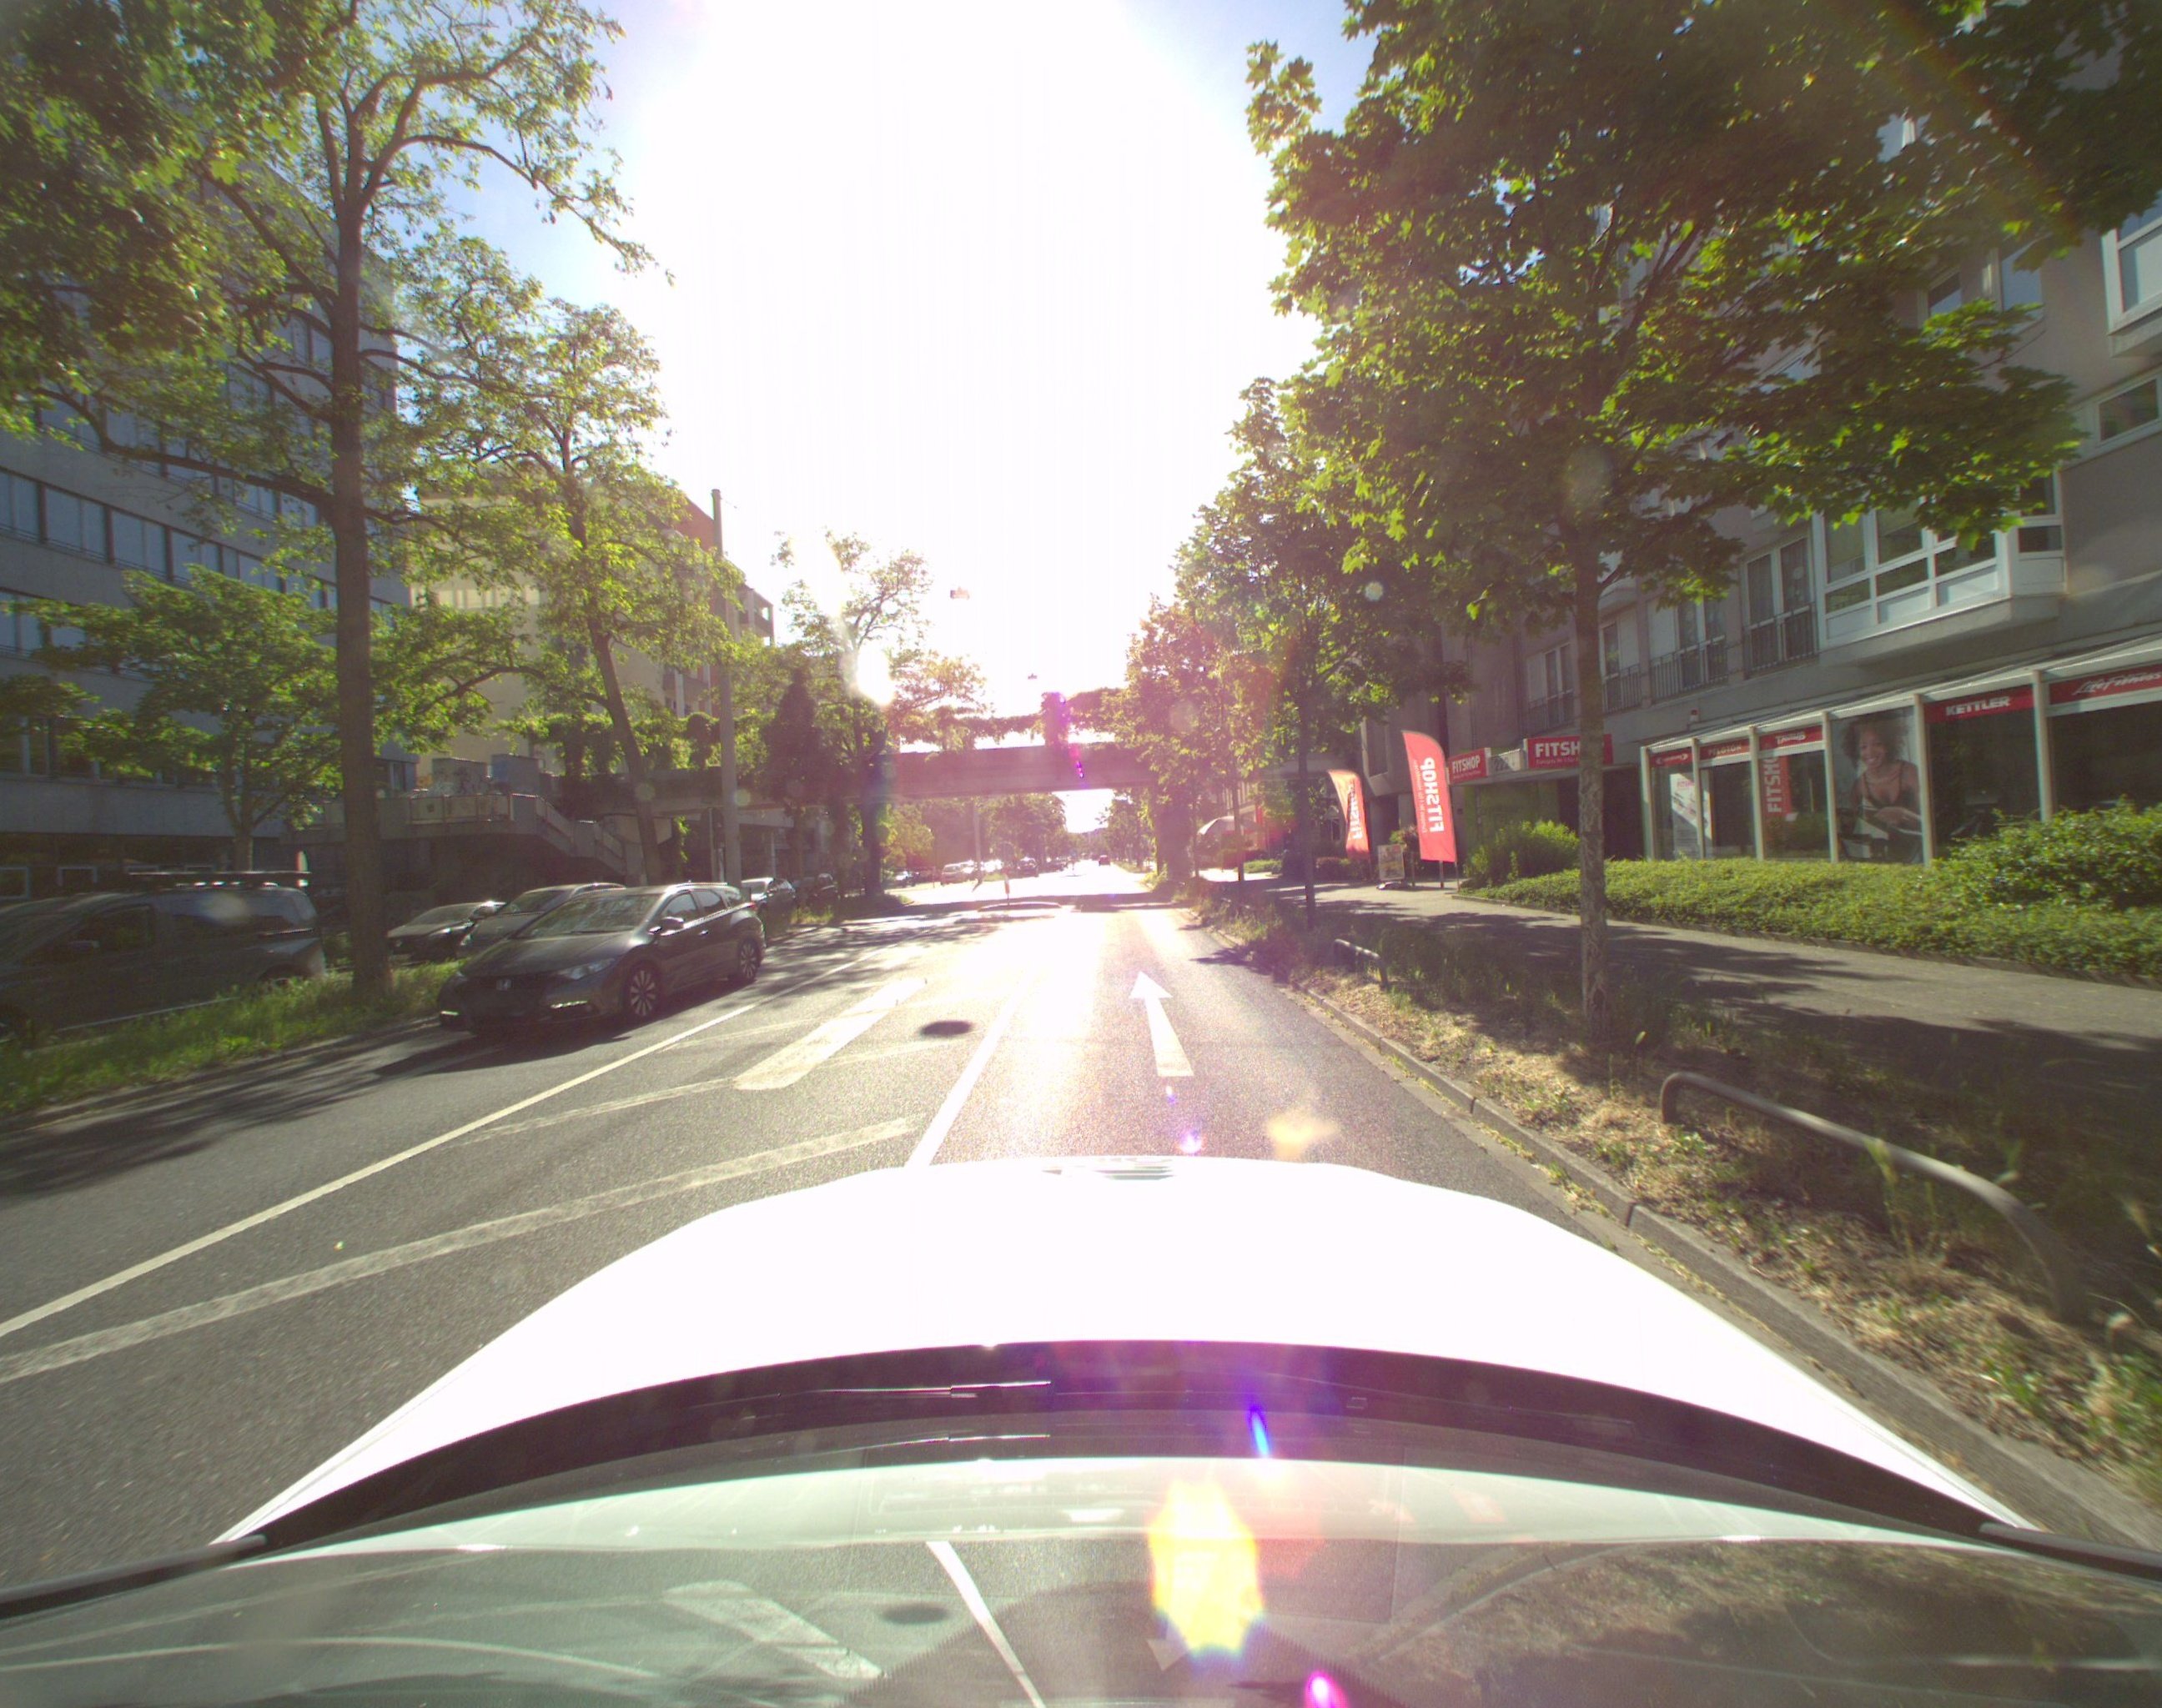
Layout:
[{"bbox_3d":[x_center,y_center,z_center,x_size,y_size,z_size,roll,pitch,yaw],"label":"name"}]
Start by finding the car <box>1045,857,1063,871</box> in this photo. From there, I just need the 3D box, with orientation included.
[{"bbox_3d":[-3.094,1.142,93.238,1.849,1.523,4.318,-2,0,0],"label":"car"}]

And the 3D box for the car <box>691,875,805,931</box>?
[{"bbox_3d":[-10.733,1.525,26.633,1.849,1.523,4.318,-2,0,0],"label":"car"}]

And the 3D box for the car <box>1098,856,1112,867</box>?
[{"bbox_3d":[3.408,1.043,115.985,1.848,1.523,4.322,-2,0,3],"label":"car"}]

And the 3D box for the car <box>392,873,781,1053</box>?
[{"bbox_3d":[-5.477,1.081,9.860,1.849,1.439,4.320,-5,0,2],"label":"car"}]

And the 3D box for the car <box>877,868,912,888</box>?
[{"bbox_3d":[-15.582,1.980,68.210,1.849,1.523,4.318,-2,0,0],"label":"car"}]

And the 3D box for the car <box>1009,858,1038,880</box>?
[{"bbox_3d":[-4.446,1.141,63.669,1.849,1.523,4.318,-2,0,0],"label":"car"}]

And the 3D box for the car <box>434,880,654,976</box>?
[{"bbox_3d":[-10.913,1.431,16.939,1.849,1.568,3.873,-2,0,2],"label":"car"}]

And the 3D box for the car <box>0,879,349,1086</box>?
[{"bbox_3d":[-11.203,1.317,9.086,1.849,1.850,4.562,-2,0,0],"label":"car"}]

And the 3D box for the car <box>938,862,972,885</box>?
[{"bbox_3d":[-9.297,1.435,60.423,1.849,1.523,4.077,-2,0,0],"label":"car"}]

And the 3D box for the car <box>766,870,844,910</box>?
[{"bbox_3d":[-10.368,1.318,30.842,1.627,1.307,3.582,-2,0,0],"label":"car"}]

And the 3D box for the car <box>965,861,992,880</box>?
[{"bbox_3d":[-9.373,1.502,74.762,1.849,1.523,4.318,-2,0,0],"label":"car"}]

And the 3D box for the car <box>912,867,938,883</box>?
[{"bbox_3d":[-17.086,2.272,89.415,1.849,1.523,4.318,-2,0,0],"label":"car"}]

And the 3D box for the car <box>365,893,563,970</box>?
[{"bbox_3d":[-16.113,1.948,21.605,1.850,1.523,4.318,-4,0,0],"label":"car"}]

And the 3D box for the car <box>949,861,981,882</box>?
[{"bbox_3d":[-9.478,1.392,66.818,1.849,1.523,4.318,-2,0,0],"label":"car"}]

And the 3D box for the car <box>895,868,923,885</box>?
[{"bbox_3d":[-17.392,2.280,82.649,1.849,1.523,4.318,-2,0,0],"label":"car"}]

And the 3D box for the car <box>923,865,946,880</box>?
[{"bbox_3d":[-17.120,2.118,95.231,1.849,1.523,4.318,-2,0,0],"label":"car"}]
